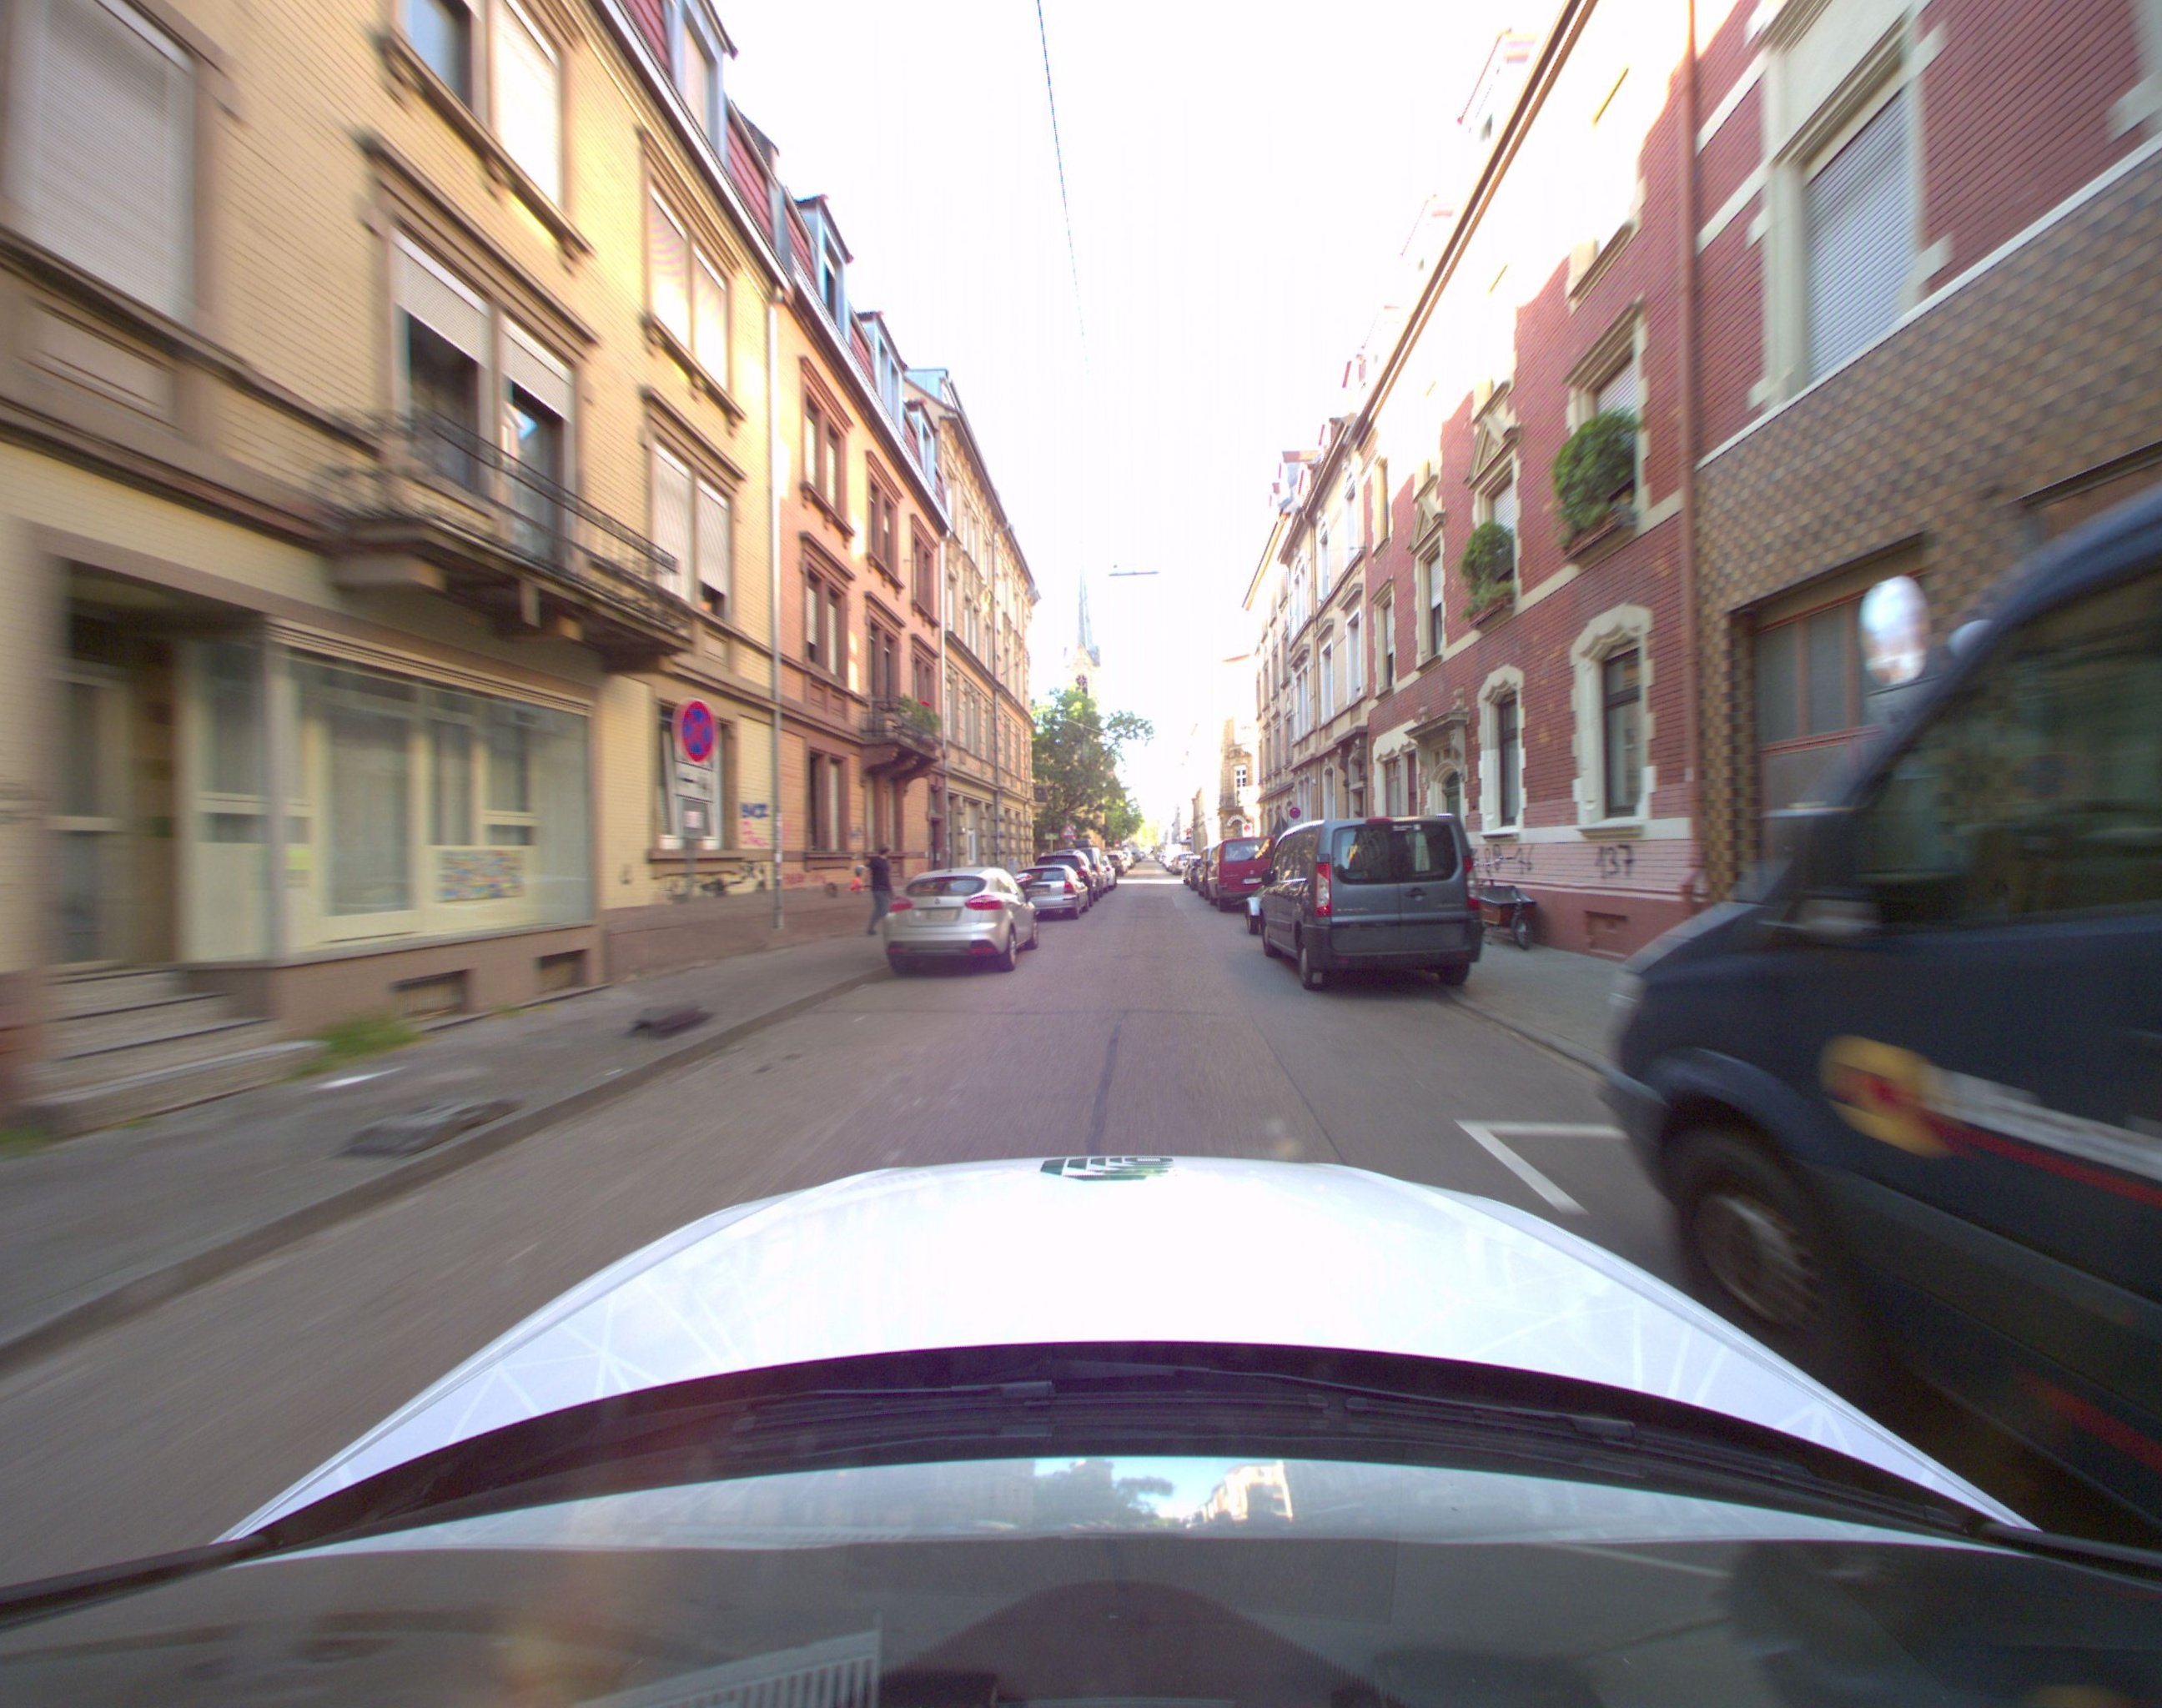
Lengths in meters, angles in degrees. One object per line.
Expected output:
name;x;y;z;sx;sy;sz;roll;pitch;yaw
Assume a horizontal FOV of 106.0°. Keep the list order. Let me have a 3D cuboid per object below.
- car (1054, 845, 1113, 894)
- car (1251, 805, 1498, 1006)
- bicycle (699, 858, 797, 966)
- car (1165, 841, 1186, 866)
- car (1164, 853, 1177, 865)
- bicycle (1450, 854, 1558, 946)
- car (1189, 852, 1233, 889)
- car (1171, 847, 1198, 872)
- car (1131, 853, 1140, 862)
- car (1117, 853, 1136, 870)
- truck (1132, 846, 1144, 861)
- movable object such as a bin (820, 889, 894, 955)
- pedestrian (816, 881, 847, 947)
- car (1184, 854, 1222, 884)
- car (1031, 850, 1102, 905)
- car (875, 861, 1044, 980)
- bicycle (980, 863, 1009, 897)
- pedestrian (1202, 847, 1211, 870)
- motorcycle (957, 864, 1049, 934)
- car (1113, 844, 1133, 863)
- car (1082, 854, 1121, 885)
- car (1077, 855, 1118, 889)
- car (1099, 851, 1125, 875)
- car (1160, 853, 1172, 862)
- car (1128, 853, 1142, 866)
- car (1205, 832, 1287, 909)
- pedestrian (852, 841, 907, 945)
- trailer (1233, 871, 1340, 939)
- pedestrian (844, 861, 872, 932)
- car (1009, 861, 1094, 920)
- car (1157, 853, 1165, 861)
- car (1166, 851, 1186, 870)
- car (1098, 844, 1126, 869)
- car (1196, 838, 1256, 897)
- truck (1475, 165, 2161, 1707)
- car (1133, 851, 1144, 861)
car;0.167;0.563;31.821;1.883;1.784;4.615;0;0;6
car;3.400;0.502;10.420;1.836;1.983;4.582;1;0;5
bicycle;-4.753;0.779;11.753;0.521;1.425;1.715;2;0;6
car;10.405;-0.061;90.054;2.058;2.611;5.896;-1;0;5
car;11.650;0.650;105.832;1.595;1.505;4.007;0;0;6
bicycle;6.278;0.640;12.220;0.665;1.222;1.995;-4;-1;5
car;5.725;0.686;36.312;1.658;1.479;3.893;-1;0;5
car;7.671;0.400;60.768;1.696;1.714;3.941;-2;0;3
car;11.239;0.657;168.570;1.867;1.796;4.004;-2;0;3
car;4.533;0.725;80.628;1.734;1.586;3.874;-1;0;5
truck;12.906;-0.206;185.007;2.520;3.282;7.005;-2;0;5
movable object such as a bin;-3.619;1.084;13.298;0.759;0.932;1.416;-2;0;2
pedestrian;-4.215;1.002;13.776;0.392;1.086;0.432;-1;0;-1
car;6.242;0.708;41.999;1.698;1.459;4.518;0;0;5
car;-0.374;0.691;26.516;1.779;1.624;4.615;0;0;6
car;-1.674;0.883;12.579;1.666;1.419;4.005;-3;0;4
bicycle;-3.110;0.909;29.288;0.663;1.125;1.788;1;1;5
pedestrian;9.375;0.332;60.672;0.570;1.732;0.665;-3;0;8
motorcycle;-1.707;0.957;17.425;0.848;1.360;2.172;-4;0;-38
car;4.477;-0.055;86.616;1.856;1.957;4.616;-3;0;4
car;1.080;0.742;41.470;1.714;1.481;4.095;0;0;5
car;0.802;0.760;36.405;1.667;1.420;3.878;0;0;4
car;2.275;0.652;59.377;1.733;1.646;4.292;-2;0;3
car;13.975;0.579;134.509;1.888;1.488;3.875;-2;0;5
car;7.160;0.689;107.621;1.593;1.614;3.813;-4;0;4
car;4.636;0.420;23.532;1.823;2.013;4.748;0;0;5
pedestrian;-3.555;0.668;14.455;0.682;1.765;0.888;-2;0;2
trailer;3.994;0.958;16.245;1.498;1.112;3.042;2;0;3
pedestrian;-4.183;0.789;15.280;0.396;1.306;0.427;0;0;-32
car;-0.674;0.888;21.477;1.690;1.314;4.006;2;0;5
car;20.629;0.814;210.593;1.984;2.013;4.006;-2;0;5
car;8.740;0.599;75.328;1.799;1.690;4.221;0;0;6
car;2.526;0.175;64.977;1.836;1.862;4.473;-2;0;6
car;5.124;0.437;29.228;1.761;1.961;4.270;0;0;5
truck;2.799;0.172;0.448;2.140;2.657;6.257;-6;0;2
car;10.433;0.346;146.791;1.866;1.796;4.006;-2;0;5
